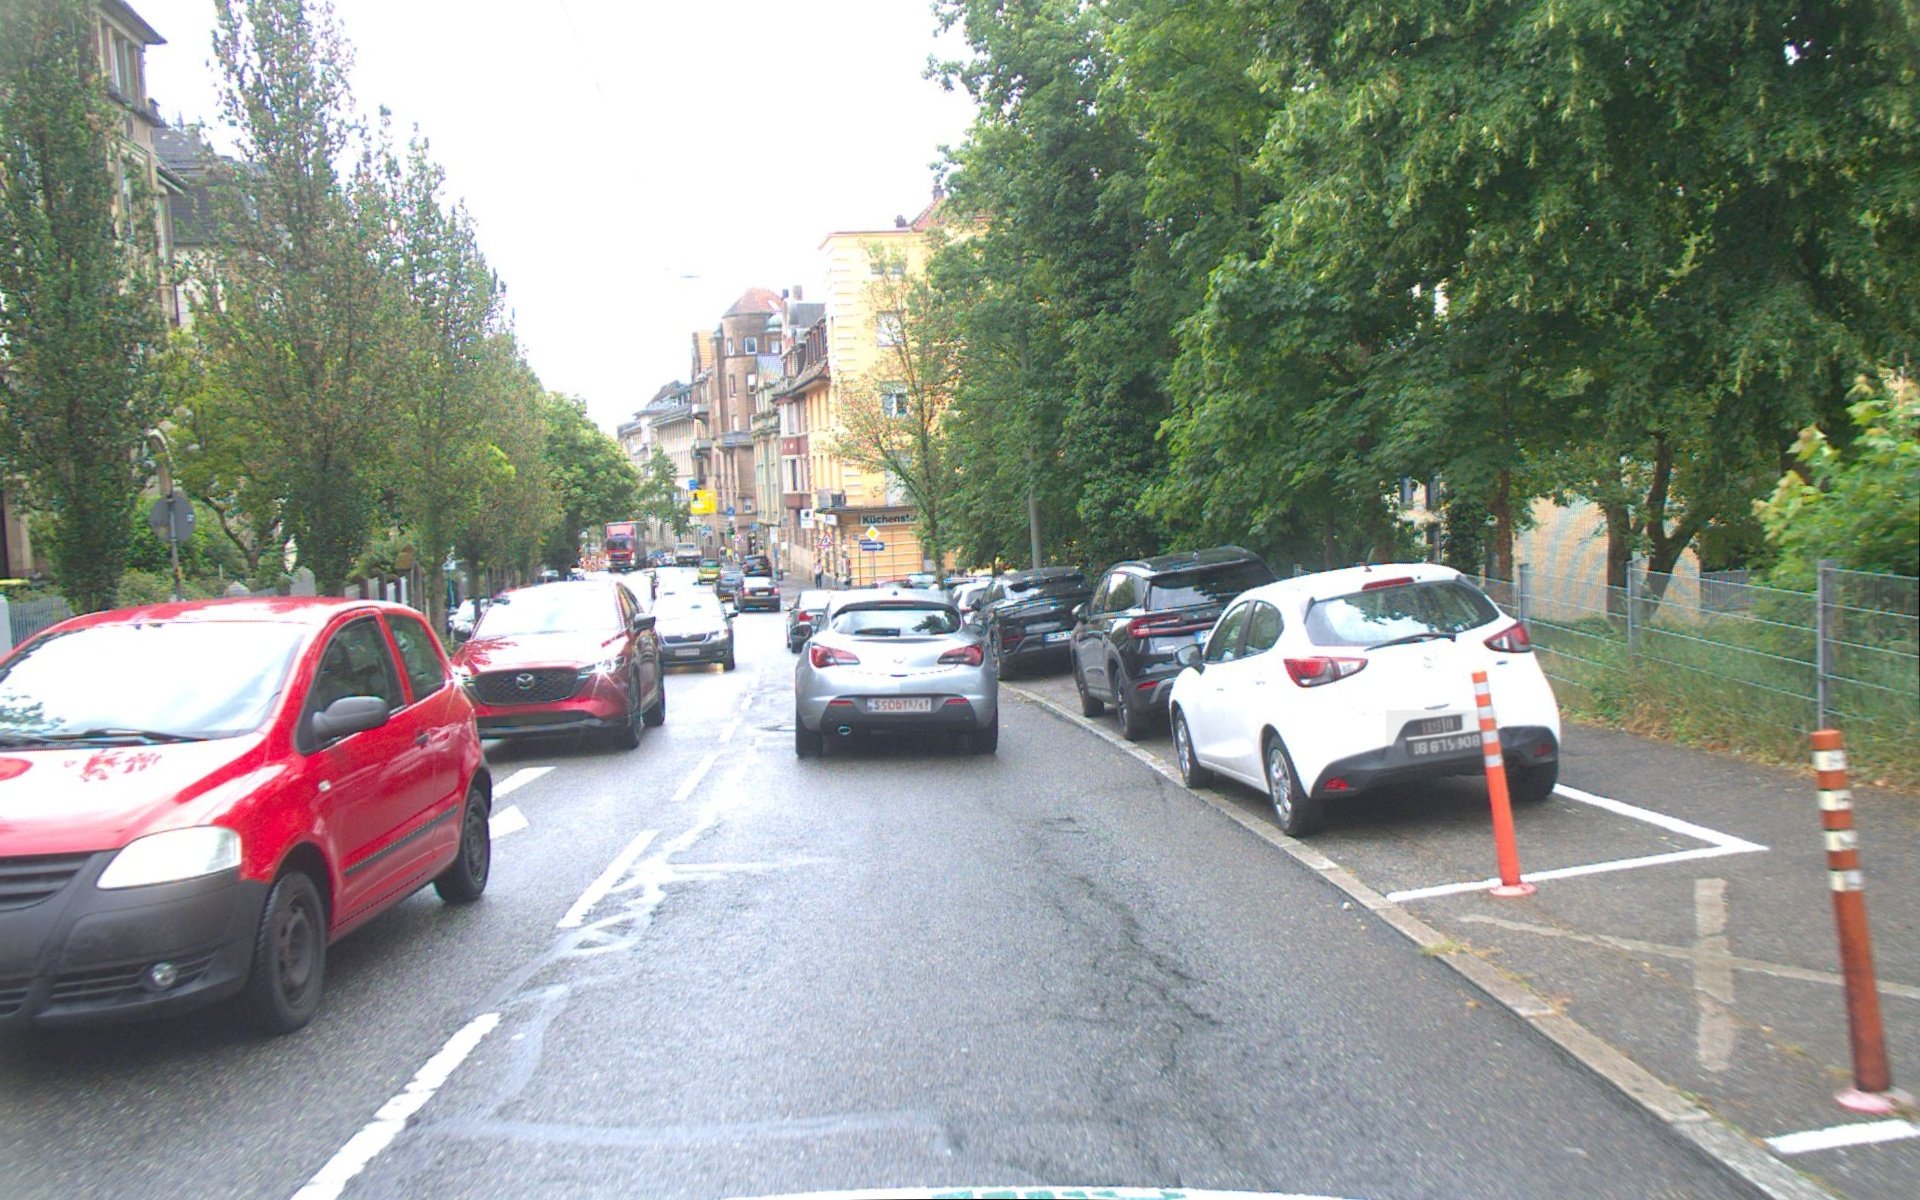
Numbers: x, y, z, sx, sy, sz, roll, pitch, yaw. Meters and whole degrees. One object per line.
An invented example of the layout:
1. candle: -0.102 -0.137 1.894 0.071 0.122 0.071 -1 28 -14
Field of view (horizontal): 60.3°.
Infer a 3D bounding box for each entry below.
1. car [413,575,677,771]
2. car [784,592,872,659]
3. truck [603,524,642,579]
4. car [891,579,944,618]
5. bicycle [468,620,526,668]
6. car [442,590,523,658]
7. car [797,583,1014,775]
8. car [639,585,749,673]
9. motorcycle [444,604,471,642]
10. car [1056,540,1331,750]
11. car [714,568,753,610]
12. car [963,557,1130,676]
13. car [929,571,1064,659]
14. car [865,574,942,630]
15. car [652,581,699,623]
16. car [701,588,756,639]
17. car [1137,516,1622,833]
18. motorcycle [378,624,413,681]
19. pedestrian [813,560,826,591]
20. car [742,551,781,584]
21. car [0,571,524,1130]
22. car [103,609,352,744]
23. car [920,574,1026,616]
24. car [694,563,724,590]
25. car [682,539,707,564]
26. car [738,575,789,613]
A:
1. car: -4.128 0.629 17.161 1.810 1.611 4.276 -5 1 -4
2. car: -3.141 0.557 38.786 1.743 1.455 3.777 -1 0 -9
3. truck: -27.664 -4.068 135.297 2.741 4.203 10.819 -3 3 -13
4. car: -1.747 -0.098 69.309 1.738 1.454 3.789 -1 2 5
5. bicycle: -12.708 1.191 45.425 1.439 1.139 0.379 -6 2 -15
6. car: -13.702 0.635 47.638 1.757 1.679 4.184 -6 2 -12
7. car: -0.571 0.639 15.902 1.779 1.454 3.998 -2 2 -3
8. car: -5.112 0.510 32.246 1.704 1.499 4.278 -3 1 -4
9. motorcycle: -17.311 0.775 57.017 0.549 1.259 1.641 -4 0 -7
10. car: 2.208 0.360 17.012 1.785 1.712 4.800 -5 1 -3
11. car: -11.128 -0.571 81.000 1.611 1.717 3.708 -2 5 -11
12. car: 1.318 0.251 27.230 1.939 1.637 4.479 -5 0 -6
13. car: 0.648 0.288 32.909 1.940 1.477 4.106 -5 0 -8
14. car: -1.817 0.070 51.978 1.783 1.492 3.992 -7 1 -9
15. car: -12.660 0.049 73.692 1.789 1.679 3.994 -4 1 -7
16. car: -7.491 0.428 53.415 1.630 1.473 3.985 -3 0 -9
17. car: 2.563 0.418 11.203 1.781 1.520 3.995 -8 0 -6
18. motorcycle: -12.123 1.115 35.567 0.642 1.141 2.144 -1 1 -18
19. pedestrian: -7.307 -1.280 85.853 0.601 1.522 0.552 -2 3 -8
20. car: -12.286 -1.993 102.200 1.959 1.717 3.991 -8 2 -10
21. car: -3.117 0.714 6.759 1.621 1.595 3.999 -2 1 -1
22. car: -9.947 0.968 22.801 1.778 1.640 3.998 -1 0 -3
23. car: 0.463 -0.163 62.404 3.707 1.455 1.776 2 -1 -12
24. car: -15.502 -1.455 102.136 1.611 1.563 3.706 -3 1 -11
25. car: -22.199 -4.026 138.103 1.751 1.887 3.986 -2 0 -13
26. car: -7.765 -0.262 65.050 1.736 1.439 3.707 -1 1 -11
